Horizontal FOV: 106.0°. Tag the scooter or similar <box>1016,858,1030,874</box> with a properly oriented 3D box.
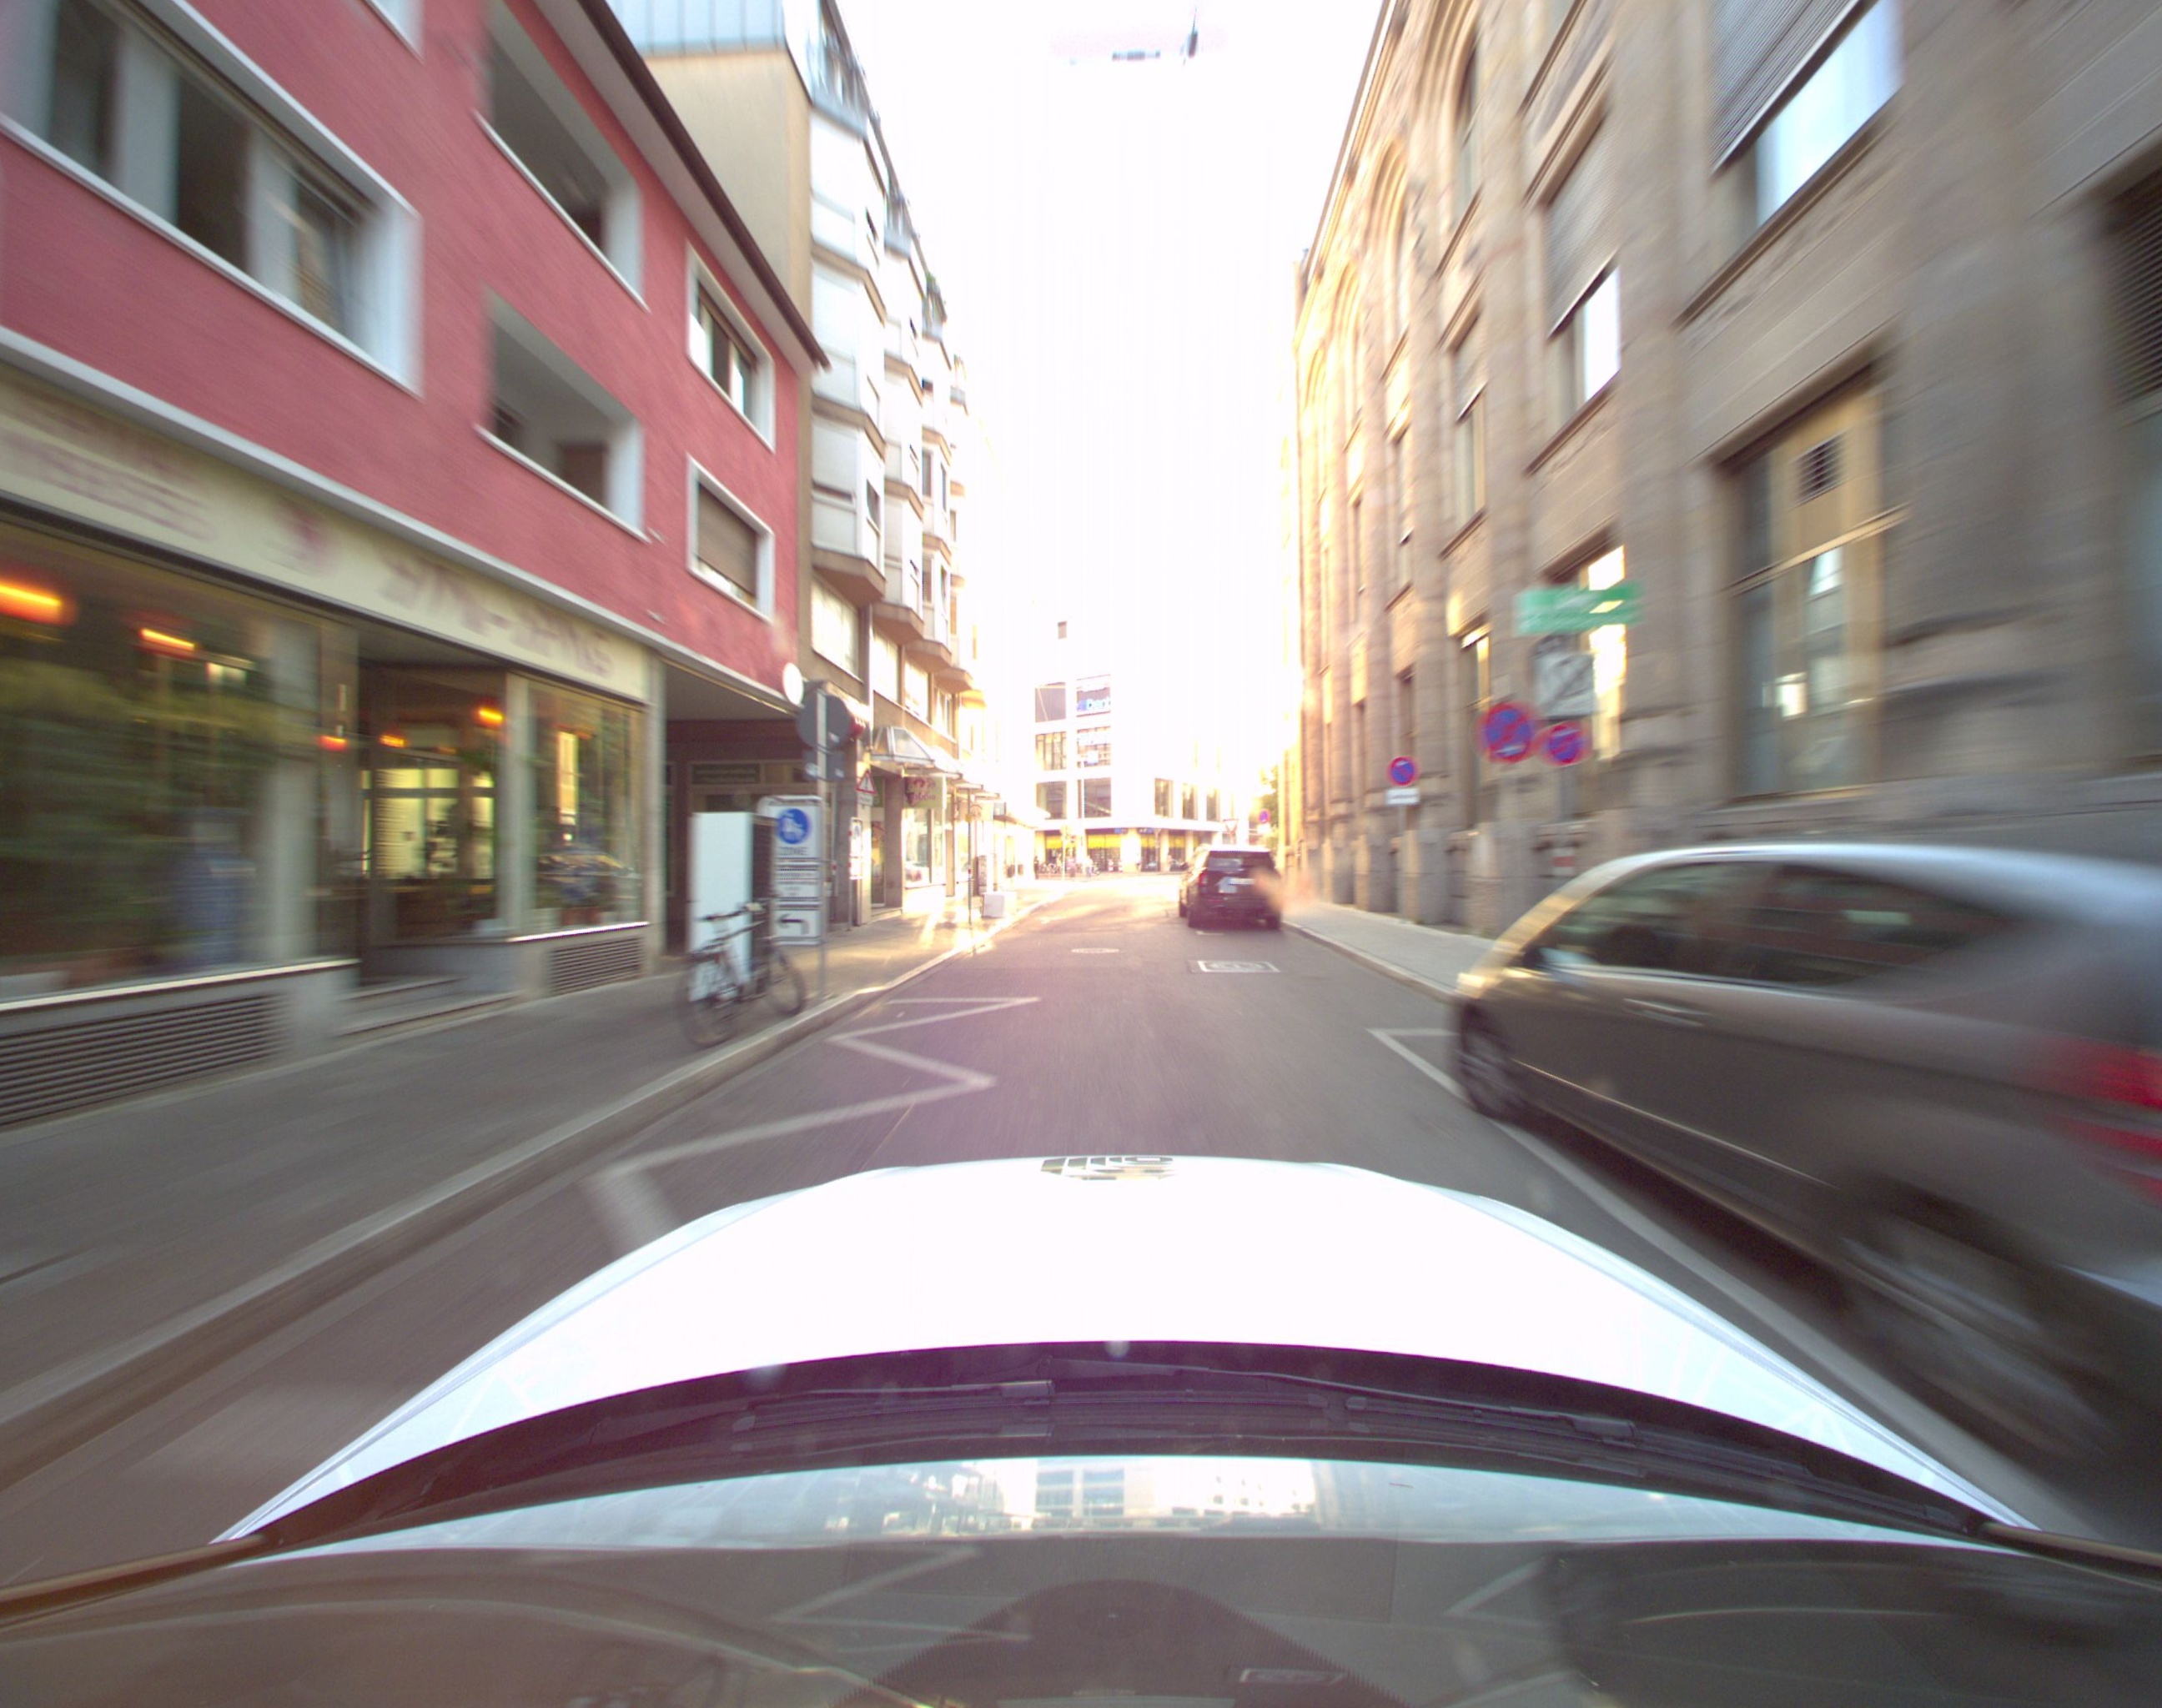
[{"bbox_3d":[-4.517,0.951,63.284,0.383,1.260,1.279,-1,-1,33],"label":"scooter or similar"}]

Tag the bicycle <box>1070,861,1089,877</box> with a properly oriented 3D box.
[{"bbox_3d":[-0.106,1.158,63.112,0.507,1.255,1.991,-1,-1,31],"label":"bicycle"}]

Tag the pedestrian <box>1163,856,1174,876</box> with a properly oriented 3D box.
[{"bbox_3d":[7.688,1.086,71.712,0.665,1.744,0.651,-1,-1,35],"label":"pedestrian"}]

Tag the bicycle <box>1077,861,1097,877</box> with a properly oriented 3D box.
[{"bbox_3d":[0.456,1.161,62.819,0.575,1.255,2.057,-1,-1,31],"label":"bicycle"}]

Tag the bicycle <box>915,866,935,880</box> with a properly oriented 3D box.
[{"bbox_3d":[-14.522,1.773,75.652,1.953,1.255,0.516,-1,-1,32],"label":"bicycle"}]

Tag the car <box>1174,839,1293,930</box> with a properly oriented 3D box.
[{"bbox_3d":[3.301,0.625,18.628,1.986,1.783,4.937,-1,0,2],"label":"car"}]

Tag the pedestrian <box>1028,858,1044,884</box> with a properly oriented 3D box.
[{"bbox_3d":[-2.930,1.090,52.912,0.871,1.658,0.615,0,-1,-16],"label":"pedestrian"}]

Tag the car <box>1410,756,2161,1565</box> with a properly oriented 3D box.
[{"bbox_3d":[3.126,0.637,3.582,1.767,1.666,4.000,-1,-1,1],"label":"car"}]

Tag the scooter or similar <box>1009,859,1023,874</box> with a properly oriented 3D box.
[{"bbox_3d":[-5.052,0.983,63.526,0.383,1.212,1.279,-1,-1,33],"label":"scooter or similar"}]

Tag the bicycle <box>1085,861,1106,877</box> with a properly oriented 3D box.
[{"bbox_3d":[1.126,1.144,62.459,0.657,1.255,2.154,-1,-1,31],"label":"bicycle"}]

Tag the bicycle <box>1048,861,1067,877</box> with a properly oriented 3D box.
[{"bbox_3d":[-1.839,1.193,64.372,0.507,1.255,1.991,-1,-1,32],"label":"bicycle"}]

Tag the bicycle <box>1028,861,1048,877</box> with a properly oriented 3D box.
[{"bbox_3d":[-3.425,1.220,65.441,0.507,1.255,1.991,-1,-1,33],"label":"bicycle"}]

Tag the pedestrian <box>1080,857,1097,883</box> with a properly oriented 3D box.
[{"bbox_3d":[0.459,0.995,50.535,0.806,1.613,0.728,0,-1,-26],"label":"pedestrian"}]

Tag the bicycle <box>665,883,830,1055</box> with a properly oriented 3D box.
[{"bbox_3d":[-2.731,0.876,6.889,0.541,1.192,1.843,0,0,3],"label":"bicycle"}]

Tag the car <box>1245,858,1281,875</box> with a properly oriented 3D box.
[{"bbox_3d":[18.689,1.264,83.564,1.865,1.598,4.719,-1,-1,36],"label":"car"}]

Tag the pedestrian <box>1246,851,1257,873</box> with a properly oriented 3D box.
[{"bbox_3d":[12.770,0.600,60.983,0.697,1.670,0.645,-1,1,21],"label":"pedestrian"}]

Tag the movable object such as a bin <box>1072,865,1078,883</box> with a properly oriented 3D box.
[{"bbox_3d":[-0.357,1.232,49.691,0.358,1.064,0.355,0,-1,-7],"label":"movable object such as a bin"}]

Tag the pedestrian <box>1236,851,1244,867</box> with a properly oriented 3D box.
[{"bbox_3d":[16.771,0.480,85.818,0.665,1.675,0.651,-1,-1,32],"label":"pedestrian"}]

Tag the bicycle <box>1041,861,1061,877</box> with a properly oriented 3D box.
[{"bbox_3d":[-2.397,1.154,64.690,0.507,1.255,1.991,-1,-1,33],"label":"bicycle"}]

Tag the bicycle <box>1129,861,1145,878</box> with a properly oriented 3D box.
[{"bbox_3d":[4.297,1.202,62.913,0.612,1.255,1.967,0,-1,-17],"label":"bicycle"}]

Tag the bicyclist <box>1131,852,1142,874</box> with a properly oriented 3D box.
[{"bbox_3d":[4.287,0.669,62.978,0.683,1.695,0.641,0,-1,-16],"label":"bicyclist"}]

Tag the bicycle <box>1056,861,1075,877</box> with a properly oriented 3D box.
[{"bbox_3d":[-1.206,1.180,63.919,0.507,1.255,1.991,-1,-1,33],"label":"bicycle"}]

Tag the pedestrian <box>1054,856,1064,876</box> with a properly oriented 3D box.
[{"bbox_3d":[-1.956,1.032,71.156,0.638,1.723,0.839,0,-1,-21],"label":"pedestrian"}]

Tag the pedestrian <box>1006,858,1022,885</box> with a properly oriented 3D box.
[{"bbox_3d":[-4.109,1.077,49.795,0.727,1.613,0.808,-1,-1,14],"label":"pedestrian"}]

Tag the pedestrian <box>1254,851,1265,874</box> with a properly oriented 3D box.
[{"bbox_3d":[13.112,0.647,59.872,0.697,1.670,0.645,-1,1,21],"label":"pedestrian"}]

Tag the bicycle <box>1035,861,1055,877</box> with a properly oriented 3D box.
[{"bbox_3d":[-2.850,1.187,65.027,0.507,1.255,1.991,-1,-1,33],"label":"bicycle"}]
